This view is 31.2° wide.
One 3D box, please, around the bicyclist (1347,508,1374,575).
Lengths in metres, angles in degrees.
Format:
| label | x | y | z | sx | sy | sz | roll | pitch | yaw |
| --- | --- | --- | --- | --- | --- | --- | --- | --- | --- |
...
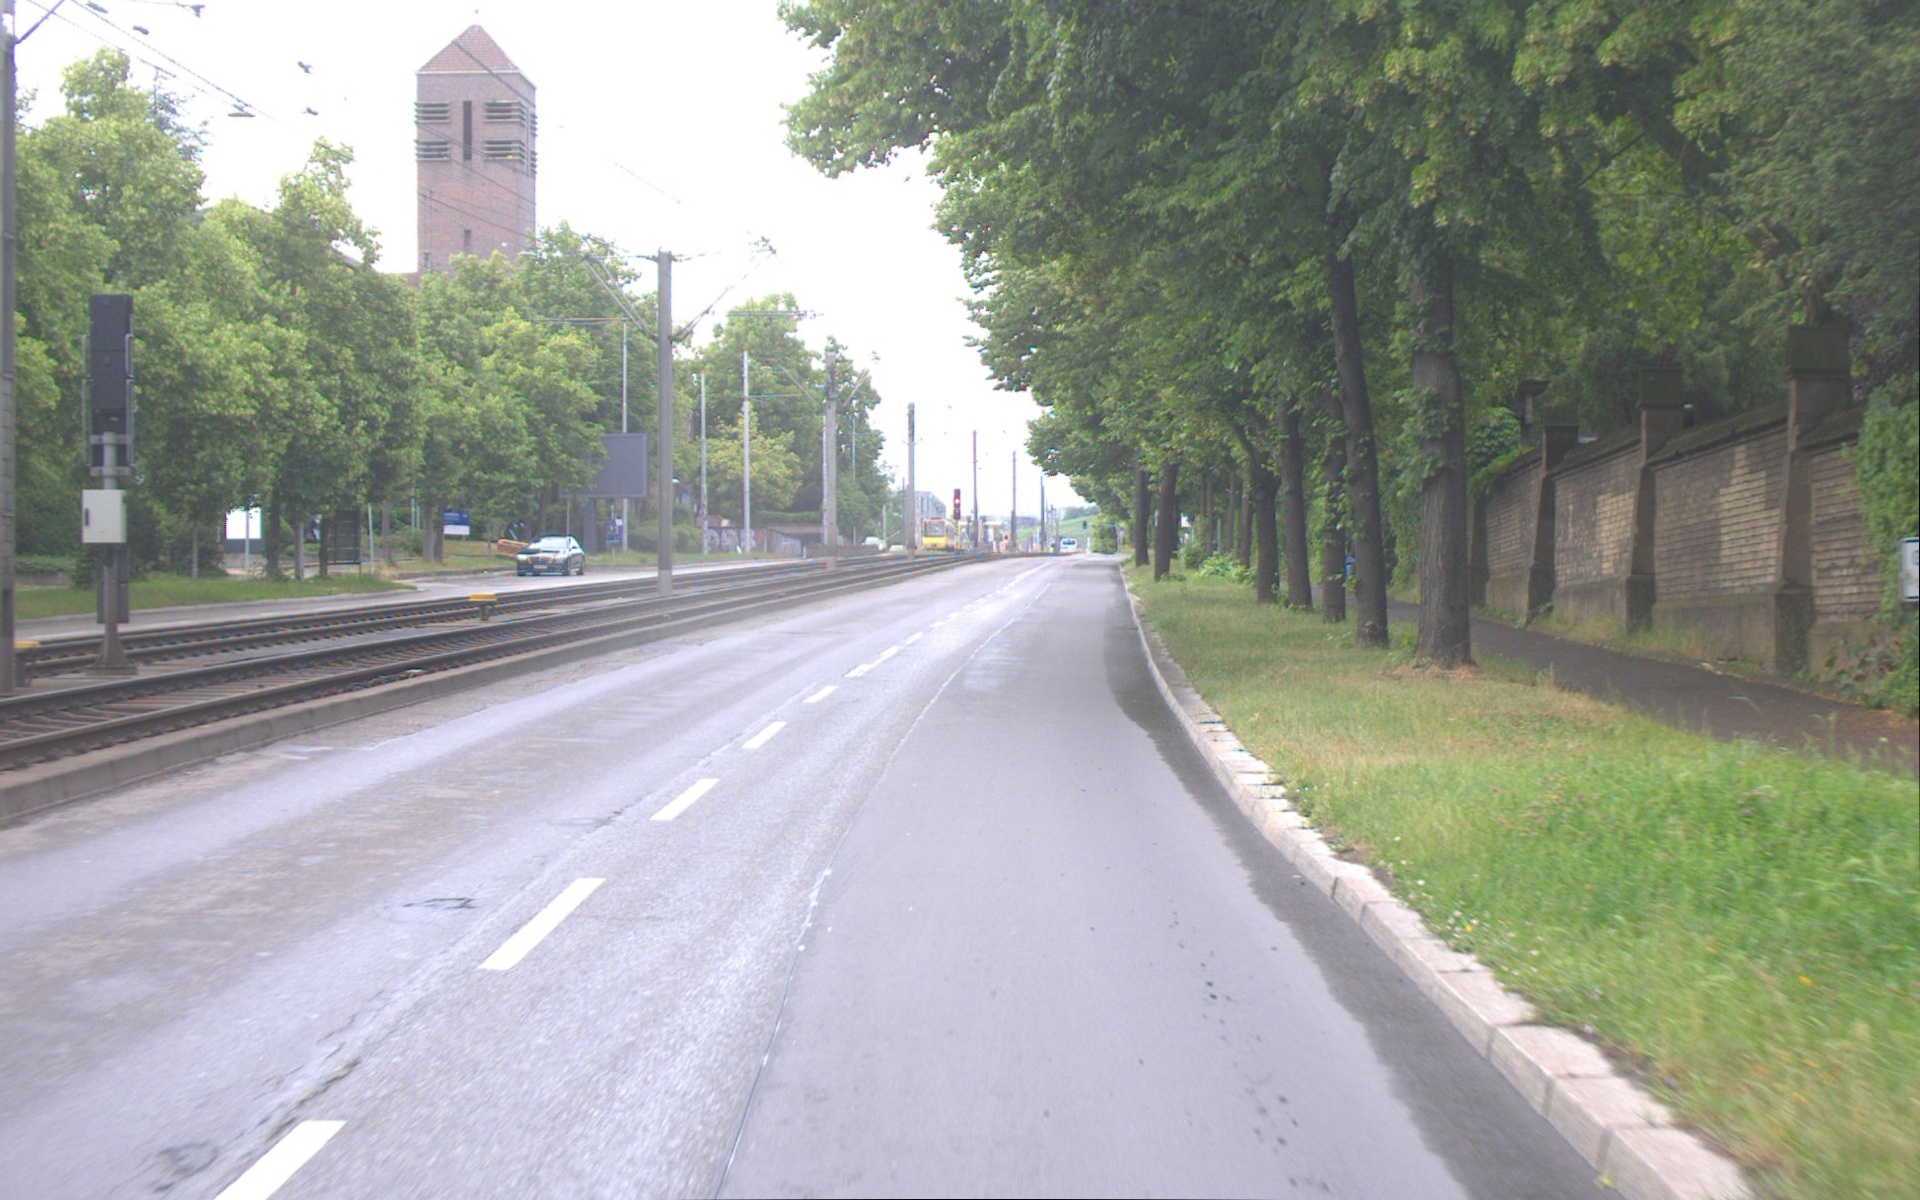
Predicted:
| label | x | y | z | sx | sy | sz | roll | pitch | yaw |
| --- | --- | --- | --- | --- | --- | --- | --- | --- | --- |
| bicyclist | 8.287 | -1.206 | 71.202 | 0.535 | 1.385 | 0.666 | 0 | 1 | 6 |

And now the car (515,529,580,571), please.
| label | x | y | z | sx | sy | sz | roll | pitch | yaw |
| --- | --- | --- | --- | --- | --- | --- | --- | --- | --- |
| car | -15.296 | -1.885 | 127.656 | 1.794 | 1.525 | 4.622 | 0 | 1 | 1 |

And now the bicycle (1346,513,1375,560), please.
| label | x | y | z | sx | sy | sz | roll | pitch | yaw |
| --- | --- | --- | --- | --- | --- | --- | --- | --- | --- |
| bicycle | 8.261 | -1.305 | 71.004 | 0.543 | 0.945 | 2.549 | 0 | 1 | 6 |
